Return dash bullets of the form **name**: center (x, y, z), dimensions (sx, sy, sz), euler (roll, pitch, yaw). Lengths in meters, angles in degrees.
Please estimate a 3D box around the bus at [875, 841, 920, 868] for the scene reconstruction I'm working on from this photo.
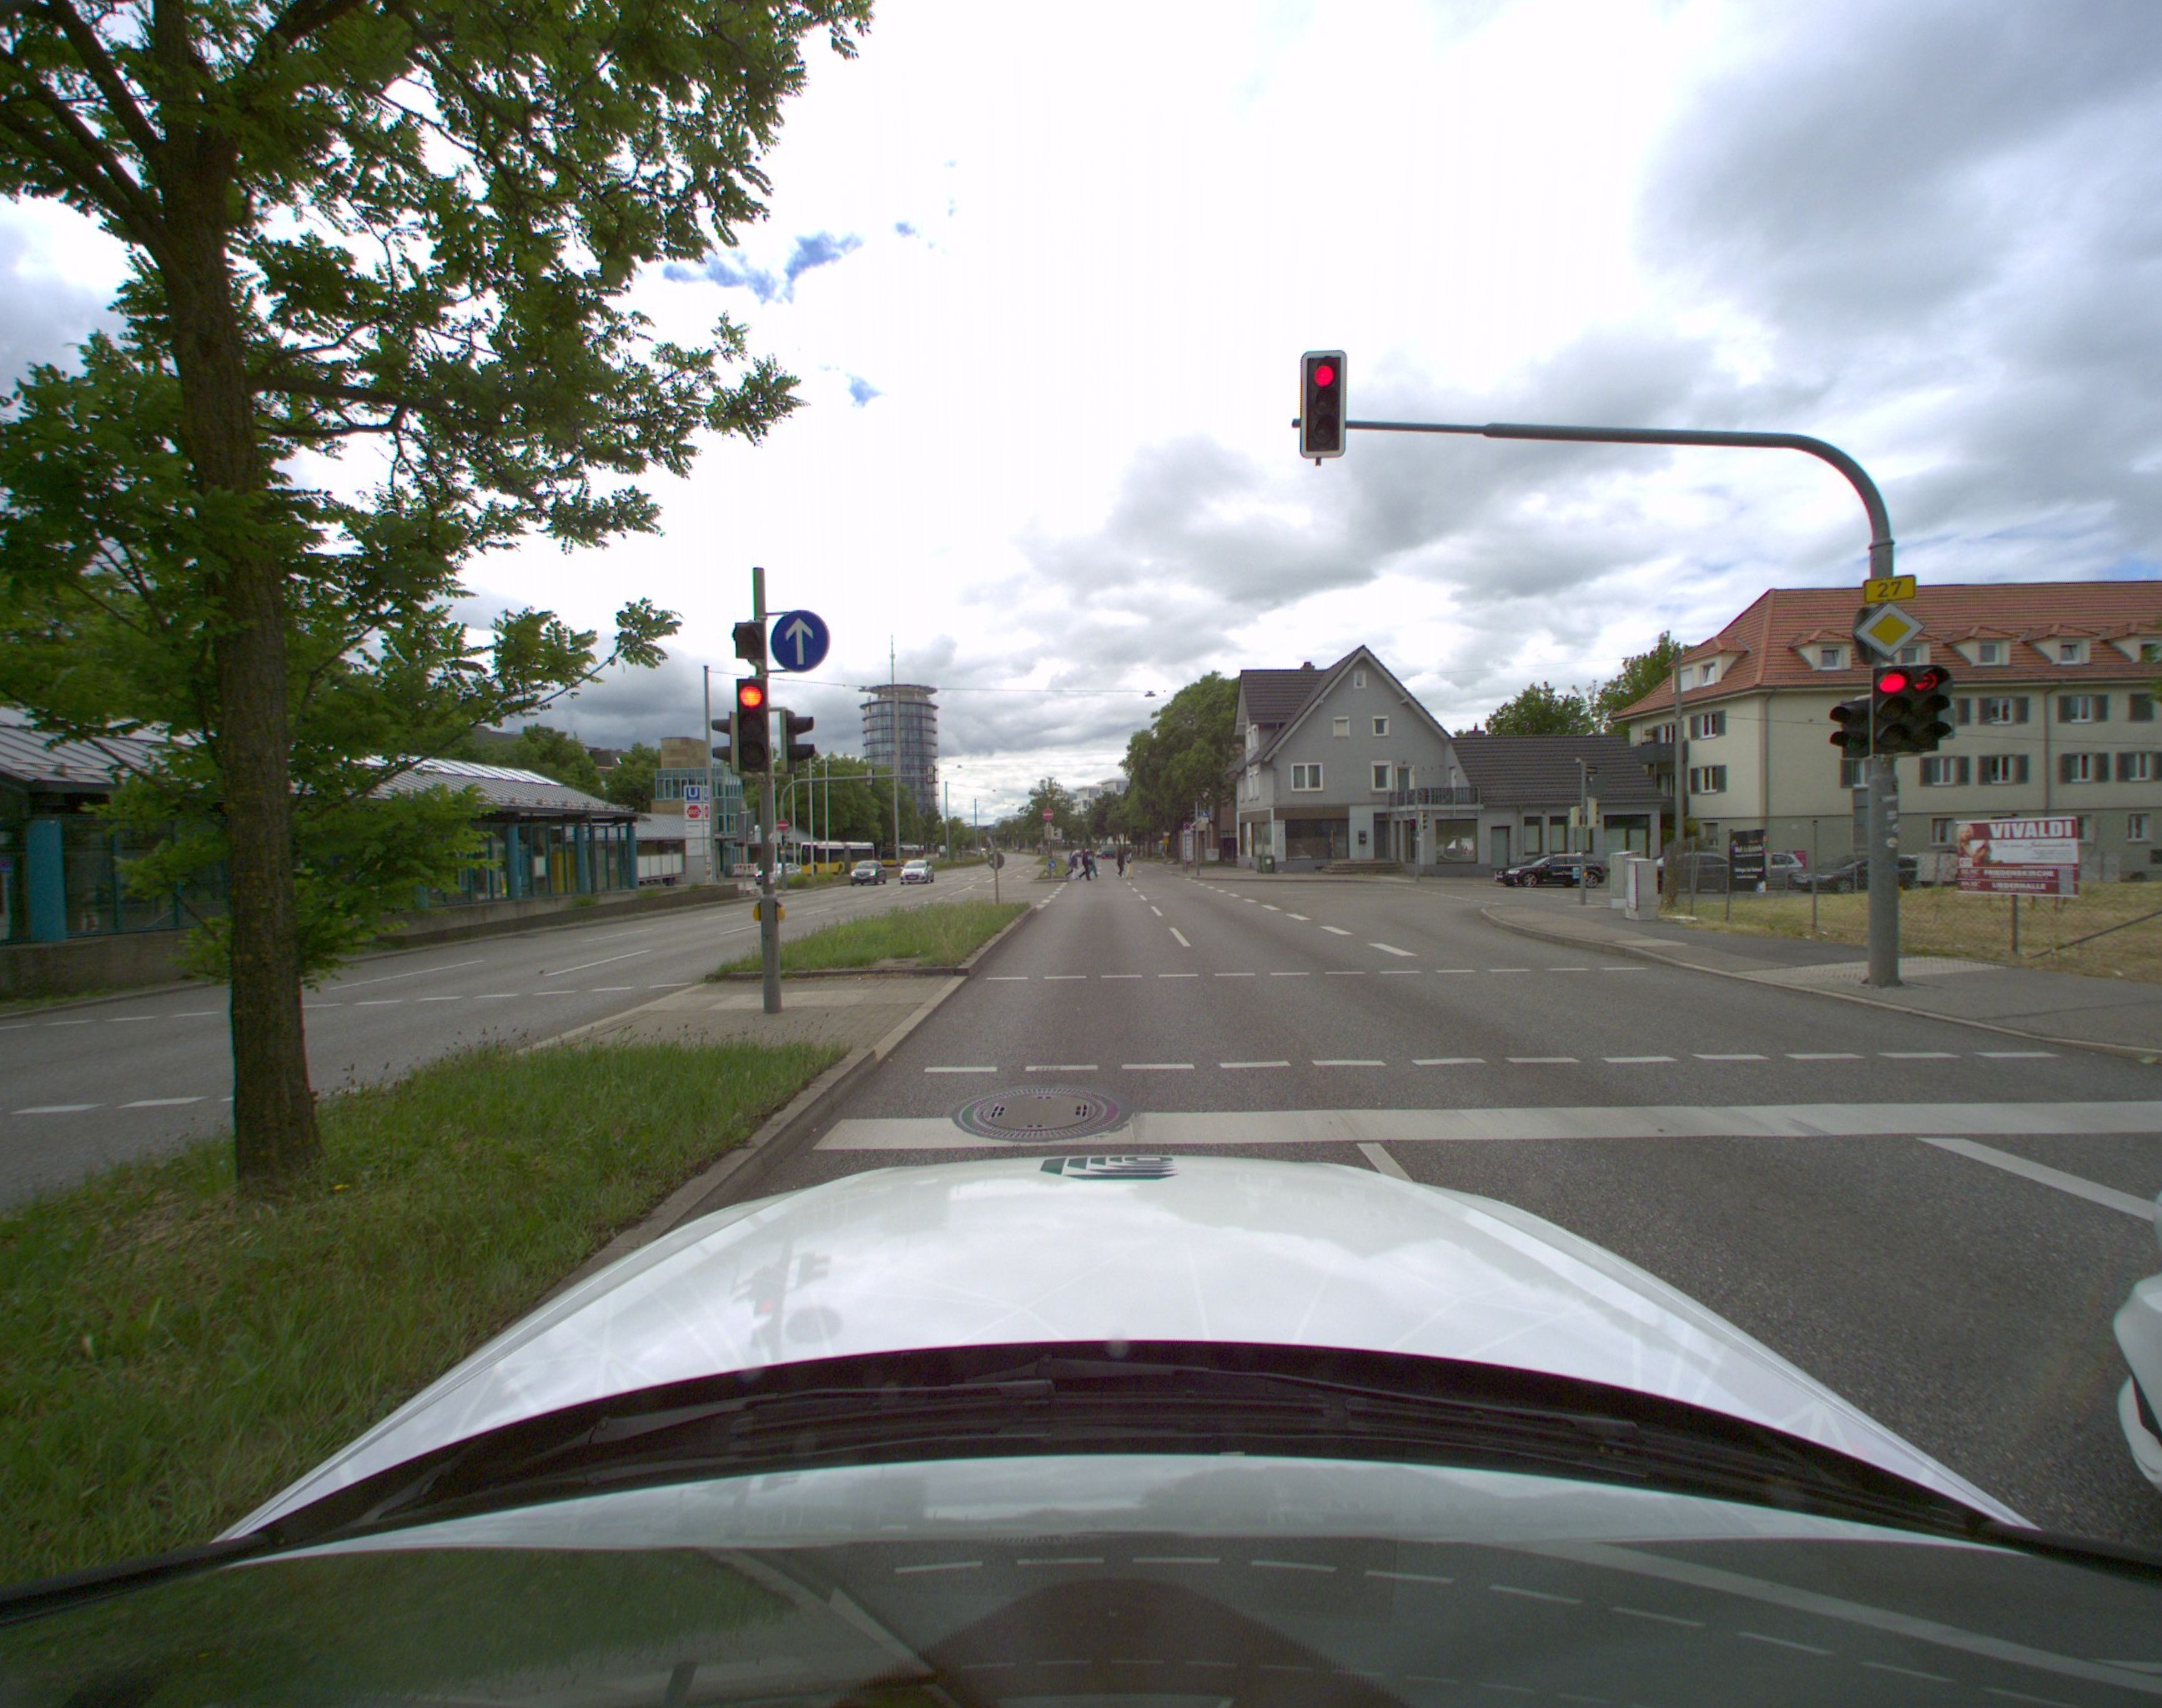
- **bus**: center (-25.700, 0.047, 114.937), dimensions (2.817, 3.430, 10.750), euler (-2, 0, 6)

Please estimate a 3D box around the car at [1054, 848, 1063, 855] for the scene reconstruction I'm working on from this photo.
- **car**: center (-4.855, -0.574, 176.512), dimensions (1.988, 1.519, 3.997), euler (-2, 0, -2)

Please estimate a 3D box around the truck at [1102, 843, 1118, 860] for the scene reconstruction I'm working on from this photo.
- **truck**: center (4.648, -0.493, 130.912), dimensions (2.461, 2.611, 6.551), euler (0, 1, 2)

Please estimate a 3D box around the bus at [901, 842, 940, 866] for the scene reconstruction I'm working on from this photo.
- **bus**: center (-24.621, -0.069, 125.660), dimensions (2.817, 3.430, 10.750), euler (-2, 0, 6)

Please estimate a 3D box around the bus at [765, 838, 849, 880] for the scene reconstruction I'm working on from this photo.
- **bus**: center (-24.309, 0.398, 73.129), dimensions (2.817, 3.430, 10.750), euler (-2, 0, 6)

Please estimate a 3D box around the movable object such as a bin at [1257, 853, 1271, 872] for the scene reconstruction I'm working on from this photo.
- **movable object such as a bin**: center (9.983, 0.479, 44.421), dimensions (0.613, 1.043, 0.590), euler (0, 0, 3)

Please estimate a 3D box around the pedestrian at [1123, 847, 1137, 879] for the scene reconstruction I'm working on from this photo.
- **pedestrian**: center (2.751, 0.505, 45.647), dimensions (0.652, 1.716, 0.451), euler (-2, 0, -6)

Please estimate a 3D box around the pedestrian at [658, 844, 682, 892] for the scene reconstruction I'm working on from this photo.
- **pedestrian**: center (-17.492, 0.591, 34.669), dimensions (0.680, 2.013, 0.645), euler (-2, 0, -3)

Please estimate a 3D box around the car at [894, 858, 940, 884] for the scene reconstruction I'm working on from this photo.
- **car**: center (-10.294, 1.046, 51.349), dimensions (1.987, 1.486, 4.000), euler (-2, 0, 0)

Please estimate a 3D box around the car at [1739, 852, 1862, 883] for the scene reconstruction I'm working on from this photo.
- **car**: center (32.851, 0.610, 37.243), dimensions (4.075, 1.371, 1.800), euler (0, 0, 0)

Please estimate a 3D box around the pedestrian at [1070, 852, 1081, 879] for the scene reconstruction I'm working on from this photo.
- **pedestrian**: center (-0.297, 0.630, 45.038), dimensions (0.542, 1.496, 0.486), euler (-2, 0, -5)

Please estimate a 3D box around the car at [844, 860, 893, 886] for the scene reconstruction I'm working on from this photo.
- **car**: center (-13.455, 1.176, 51.890), dimensions (1.987, 1.486, 4.000), euler (-2, 0, 0)

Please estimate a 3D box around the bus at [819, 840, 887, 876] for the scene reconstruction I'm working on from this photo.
- **bus**: center (-23.226, 0.371, 83.736), dimensions (2.817, 3.430, 10.750), euler (-2, 0, 6)

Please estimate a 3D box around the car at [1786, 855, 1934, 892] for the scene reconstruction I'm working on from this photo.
- **car**: center (30.140, 0.732, 31.600), dimensions (4.075, 1.371, 1.800), euler (0, 0, 0)

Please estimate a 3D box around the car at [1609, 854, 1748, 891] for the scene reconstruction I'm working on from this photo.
- **car**: center (22.946, 0.692, 31.375), dimensions (4.075, 1.371, 1.800), euler (0, 0, 0)

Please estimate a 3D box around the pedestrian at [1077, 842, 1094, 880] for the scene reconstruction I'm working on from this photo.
- **pedestrian**: center (0.234, 0.379, 44.313), dimensions (0.829, 2.013, 0.545), euler (-2, 0, -6)

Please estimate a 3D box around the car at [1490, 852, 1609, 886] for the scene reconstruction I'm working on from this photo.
- **car**: center (19.896, 0.615, 34.710), dimensions (4.075, 1.371, 1.800), euler (0, 0, 0)

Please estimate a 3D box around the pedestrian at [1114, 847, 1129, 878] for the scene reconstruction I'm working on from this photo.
- **pedestrian**: center (2.274, 0.501, 46.166), dimensions (0.744, 1.716, 0.582), euler (-2, 0, -6)

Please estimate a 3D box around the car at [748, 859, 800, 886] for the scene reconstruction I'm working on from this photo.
- **car**: center (-20.857, 1.219, 55.482), dimensions (1.798, 1.662, 4.003), euler (-2, 0, 3)

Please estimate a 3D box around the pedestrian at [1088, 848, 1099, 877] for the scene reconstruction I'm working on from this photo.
- **pedestrian**: center (0.728, 0.492, 47.499), dimensions (0.582, 1.716, 0.545), euler (-2, 0, -5)

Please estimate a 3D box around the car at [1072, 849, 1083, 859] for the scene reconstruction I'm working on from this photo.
- **car**: center (-0.691, 0.015, 160.277), dimensions (1.986, 1.830, 4.001), euler (0, 0, 1)

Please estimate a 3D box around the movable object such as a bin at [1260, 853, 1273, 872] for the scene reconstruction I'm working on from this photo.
- **movable object such as a bin**: center (9.980, 0.454, 43.843), dimensions (0.602, 1.059, 0.590), euler (0, 0, 3)

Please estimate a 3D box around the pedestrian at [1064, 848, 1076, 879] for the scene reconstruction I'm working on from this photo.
- **pedestrian**: center (-0.620, 0.545, 45.937), dimensions (0.611, 1.716, 0.545), euler (-2, 0, -5)
